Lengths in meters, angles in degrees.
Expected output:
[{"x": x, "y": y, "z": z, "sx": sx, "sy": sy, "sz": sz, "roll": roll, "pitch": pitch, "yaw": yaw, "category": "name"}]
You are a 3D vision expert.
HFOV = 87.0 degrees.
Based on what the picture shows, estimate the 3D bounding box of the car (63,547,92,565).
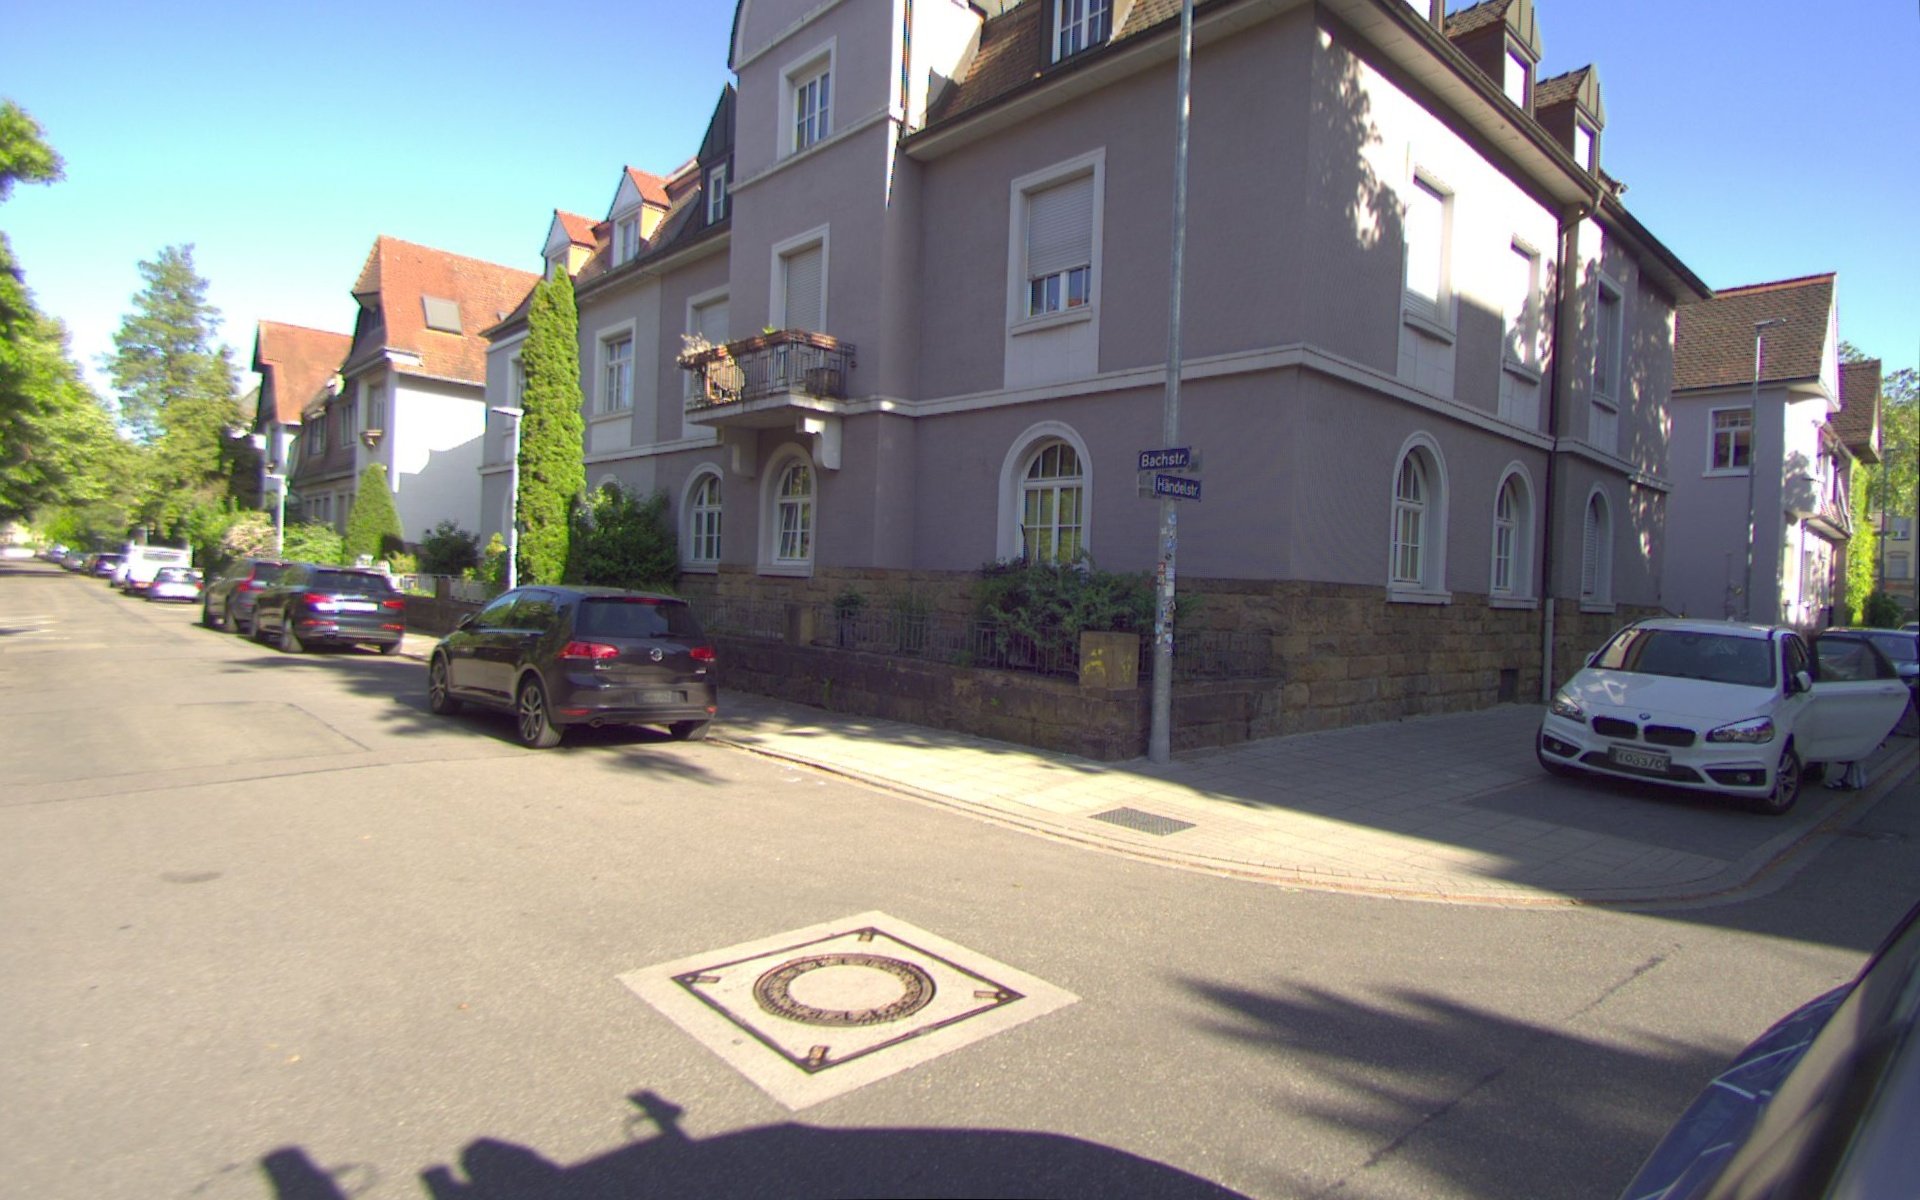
[{"x": -84.006, "y": -4.206, "z": 96.293, "sx": 3.989, "sy": 1.638, "sz": 1.817, "roll": 3, "pitch": 1, "yaw": 45, "category": "car"}]

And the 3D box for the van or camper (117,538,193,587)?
[{"x": -32.595, "y": -1.466, "z": 40.954, "sx": 3.988, "sy": 1.863, "sz": 1.968, "roll": 0, "pitch": 0, "yaw": 45, "category": "van or camper"}]

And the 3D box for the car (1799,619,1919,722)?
[{"x": 15.997, "y": 1.124, "z": 17.369, "sx": 4.087, "sy": 1.558, "sz": 1.821, "roll": 1, "pitch": -1, "yaw": -41, "category": "car"}]

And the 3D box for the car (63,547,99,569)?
[{"x": -69.264, "y": -3.294, "z": 79.722, "sx": 3.989, "sy": 1.638, "sz": 1.817, "roll": 3, "pitch": 1, "yaw": 45, "category": "car"}]

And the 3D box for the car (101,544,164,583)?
[{"x": -37.946, "y": -1.635, "z": 46.379, "sx": 3.988, "sy": 1.638, "sz": 1.818, "roll": 0, "pitch": 0, "yaw": 45, "category": "car"}]

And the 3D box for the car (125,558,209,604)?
[{"x": -27.945, "y": -0.688, "z": 35.621, "sx": 3.986, "sy": 1.393, "sz": 1.637, "roll": 3, "pitch": -1, "yaw": 42, "category": "car"}]

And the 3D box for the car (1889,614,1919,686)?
[{"x": 24.136, "y": 1.182, "z": 24.606, "sx": 4.087, "sy": 1.664, "sz": 1.821, "roll": 1, "pitch": -1, "yaw": -41, "category": "car"}]

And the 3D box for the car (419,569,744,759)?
[{"x": -3.990, "y": 0.515, "z": 10.339, "sx": 1.715, "sy": 1.474, "sz": 3.797, "roll": 3, "pitch": 0, "yaw": -43, "category": "car"}]

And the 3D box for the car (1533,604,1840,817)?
[{"x": 7.225, "y": 0.874, "z": 9.897, "sx": 1.810, "sy": 1.574, "sz": 4.040, "roll": 3, "pitch": 1, "yaw": 44, "category": "car"}]

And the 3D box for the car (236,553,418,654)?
[{"x": -11.780, "y": 0.026, "z": 18.730, "sx": 3.986, "sy": 1.623, "sz": 1.773, "roll": 3, "pitch": -1, "yaw": 42, "category": "car"}]

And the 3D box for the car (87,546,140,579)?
[{"x": -45.122, "y": -1.998, "z": 53.908, "sx": 3.989, "sy": 1.638, "sz": 1.817, "roll": 3, "pitch": 1, "yaw": 45, "category": "car"}]

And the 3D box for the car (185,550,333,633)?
[{"x": -15.577, "y": -0.220, "z": 22.423, "sx": 3.986, "sy": 1.623, "sz": 1.773, "roll": 3, "pitch": -1, "yaw": 42, "category": "car"}]

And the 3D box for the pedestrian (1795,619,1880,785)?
[{"x": 8.535, "y": 0.969, "z": 9.855, "sx": 0.528, "sy": 1.547, "sz": 0.299, "roll": 2, "pitch": 1, "yaw": 30, "category": "pedestrian"}]

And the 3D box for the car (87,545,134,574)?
[{"x": -51.833, "y": -2.491, "z": 61.745, "sx": 3.989, "sy": 1.638, "sz": 1.817, "roll": 3, "pitch": 1, "yaw": 45, "category": "car"}]

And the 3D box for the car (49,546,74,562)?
[{"x": -98.783, "y": -5.068, "z": 111.292, "sx": 3.989, "sy": 1.638, "sz": 1.817, "roll": 3, "pitch": 1, "yaw": 45, "category": "car"}]
